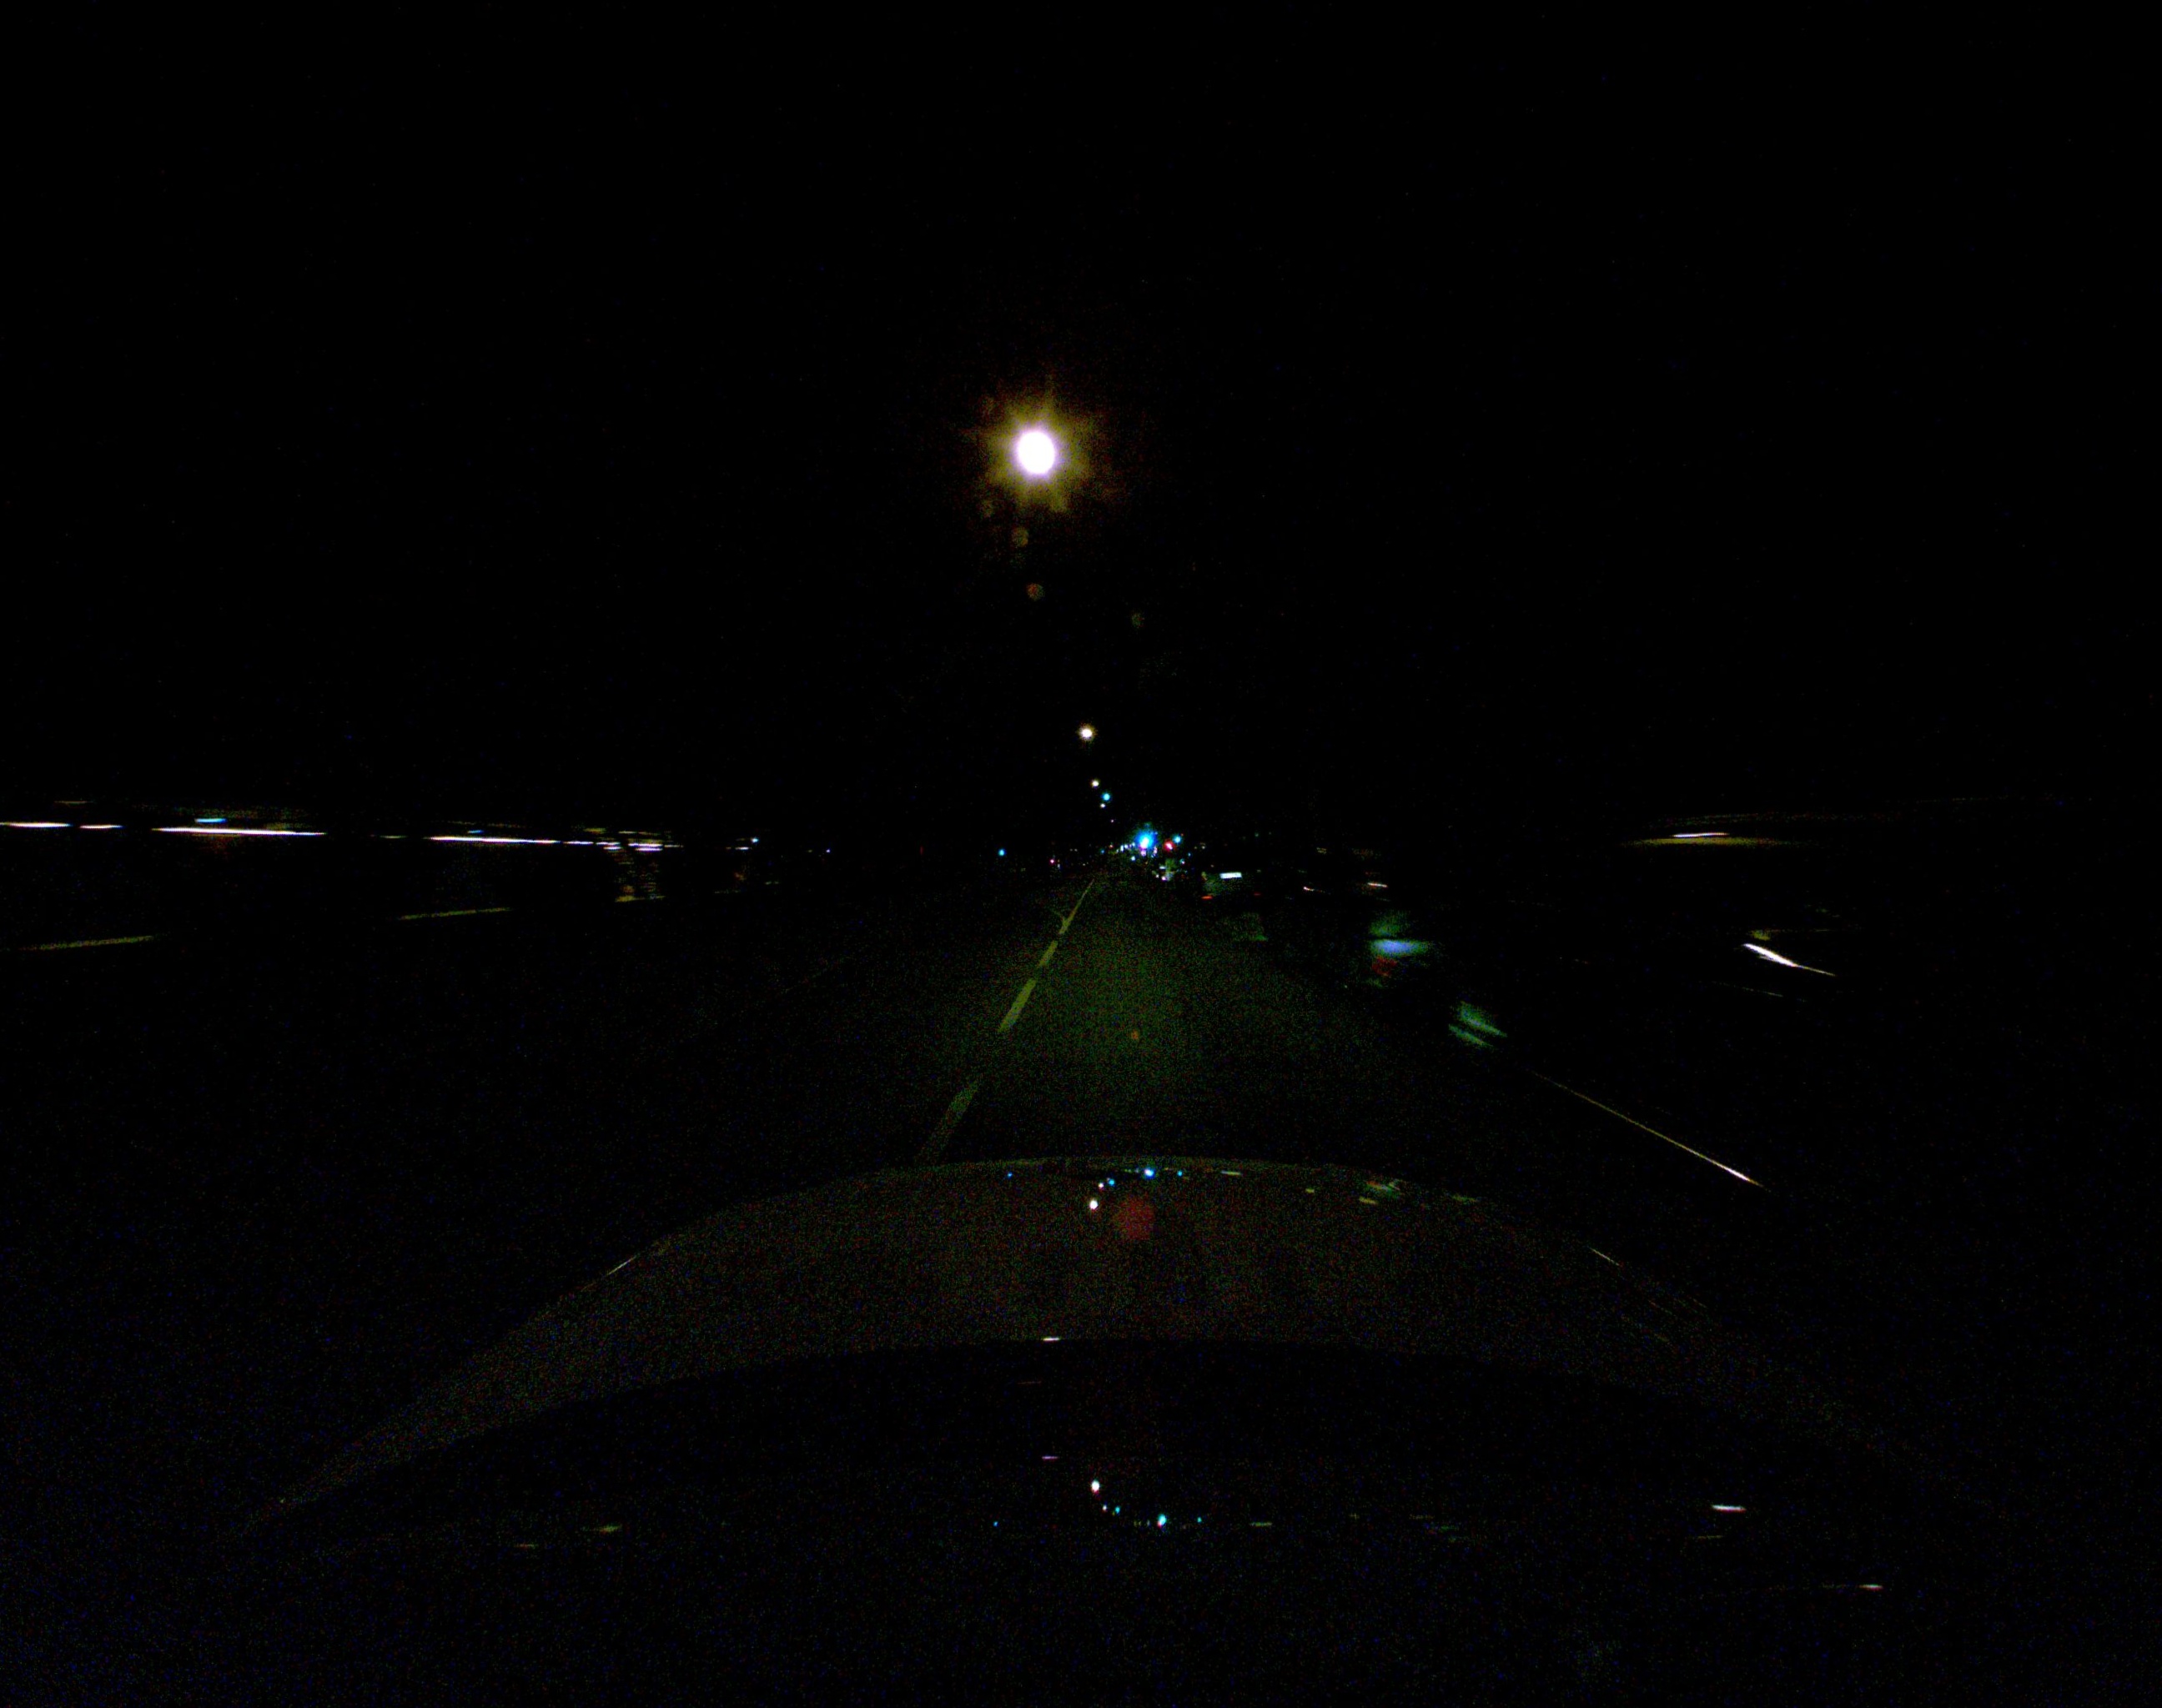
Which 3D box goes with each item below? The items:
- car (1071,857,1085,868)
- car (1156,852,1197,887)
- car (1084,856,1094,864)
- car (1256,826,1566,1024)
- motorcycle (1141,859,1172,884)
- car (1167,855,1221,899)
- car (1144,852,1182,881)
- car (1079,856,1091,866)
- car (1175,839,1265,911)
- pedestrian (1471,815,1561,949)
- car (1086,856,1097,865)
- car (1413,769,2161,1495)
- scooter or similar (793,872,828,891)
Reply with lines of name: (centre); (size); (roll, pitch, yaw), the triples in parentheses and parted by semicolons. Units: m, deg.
car: (-0.412, 1.118, 111.925); (1.734, 1.416, 3.754); (-2, 0, 2)
car: (4.715, 0.741, 40.839); (1.585, 1.534, 4.139); (-4, 0, 1)
car: (1.579, 1.150, 155.046); (1.734, 1.416, 3.754); (-2, 0, 2)
car: (3.411, 0.638, 9.410); (1.846, 1.604, 4.211); (-6, 0, 2)
motorcycle: (4.121, 0.948, 44.270); (0.630, 1.270, 2.077); (-2, 0, 37)
car: (4.018, 0.788, 29.440); (1.514, 1.396, 3.987); (-3, 0, 3)
car: (4.797, 0.714, 48.148); (1.846, 1.590, 4.301); (-2, 0, 1)
car: (0.632, 1.089, 127.368); (1.734, 1.415, 3.754); (-2, 1, 2)
car: (3.982, 0.569, 23.997); (1.766, 1.806, 4.276); (-4, 0, -1)
pedestrian: (5.903, 0.364, 11.102); (0.703, 1.721, 0.822); (-3, 0, 2)
car: (1.819, 1.130, 141.415); (1.734, 1.416, 3.754); (-2, 0, 2)
car: (3.395, 0.576, 3.957); (1.846, 1.654, 4.210); (-4, 0, 1)
scooter or similar: (-14.525, 1.478, 43.713); (1.667, 1.008, 0.545); (0, 0, 3)
